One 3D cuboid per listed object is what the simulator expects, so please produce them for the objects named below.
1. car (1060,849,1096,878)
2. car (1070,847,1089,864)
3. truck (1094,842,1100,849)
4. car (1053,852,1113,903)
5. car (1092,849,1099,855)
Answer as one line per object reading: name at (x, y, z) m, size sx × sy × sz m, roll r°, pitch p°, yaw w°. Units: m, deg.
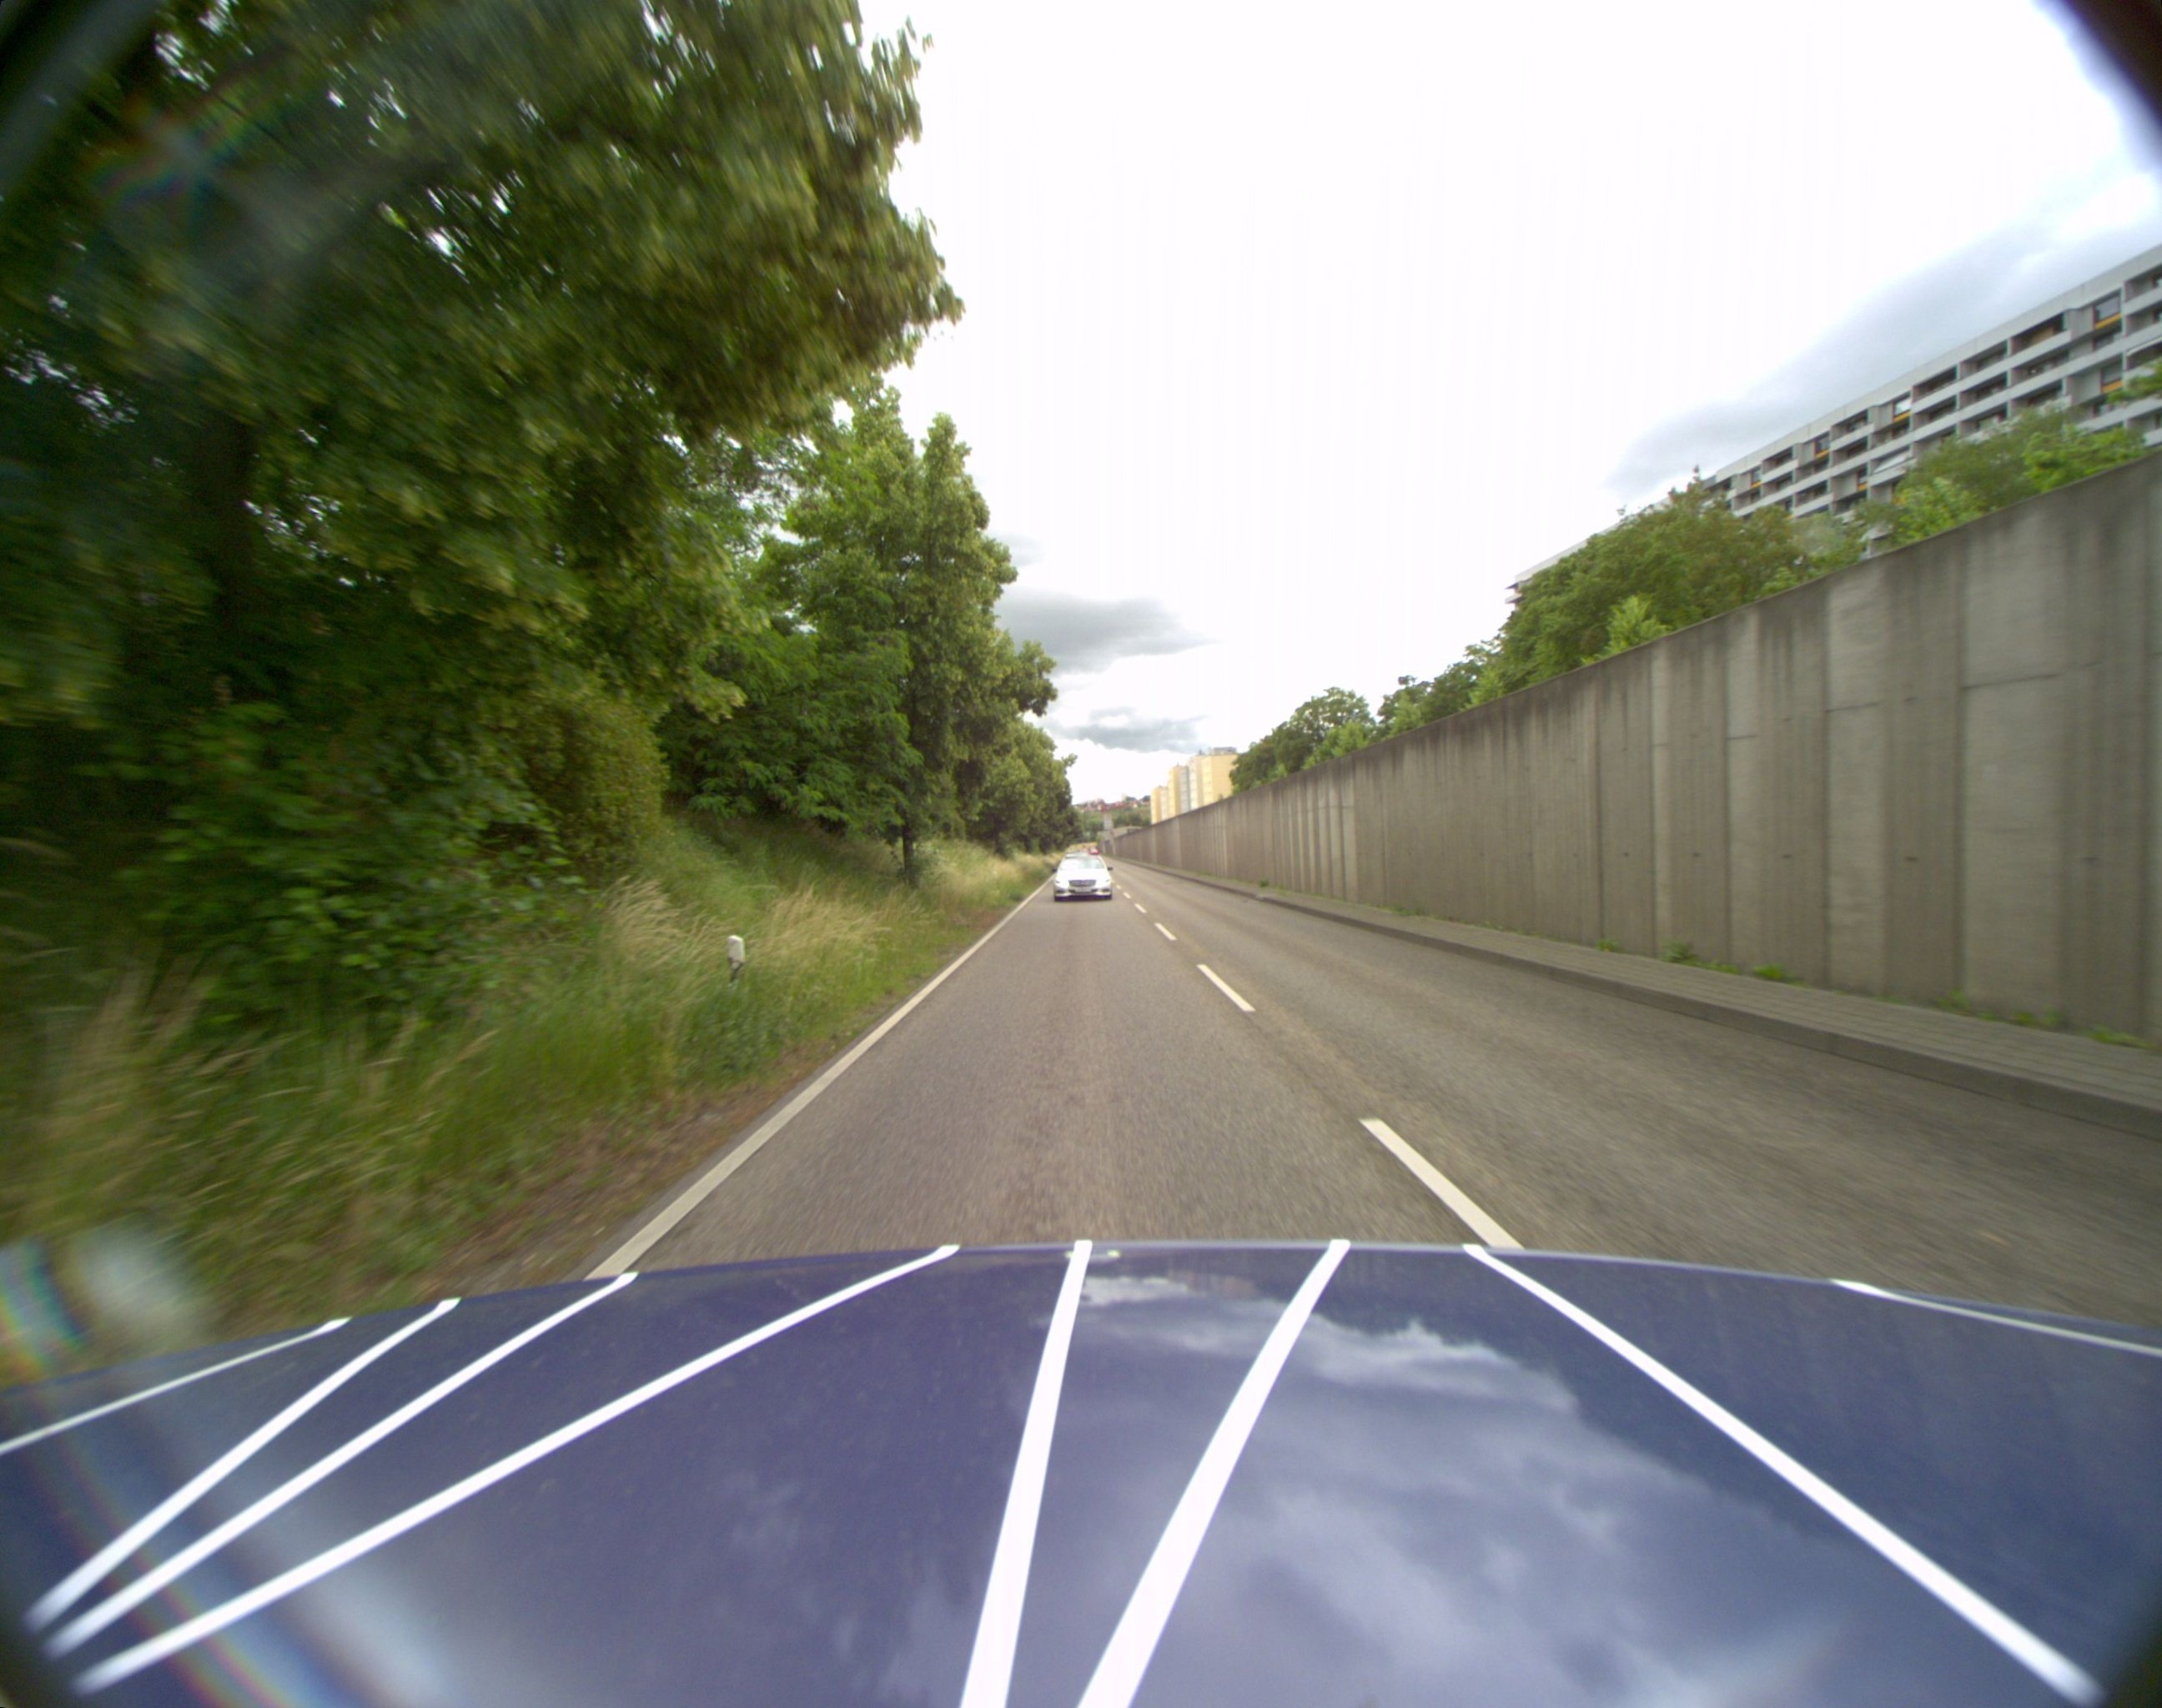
car at (-0.151, 0.509, 42.920) m, size 1.878 × 1.459 × 3.999 m, roll -2°, pitch 1°, yaw 0°
car at (-0.163, 0.140, 82.923) m, size 1.998 × 1.746 × 4.000 m, roll -2°, pitch 0°, yaw 1°
truck at (4.657, -2.505, 225.789) m, size 1.593 × 2.210 × 3.999 m, roll -2°, pitch 1°, yaw 0°
car at (0.089, 0.740, 25.934) m, size 1.842 × 1.499 × 4.160 m, roll -2°, pitch 1°, yaw 0°
car at (3.798, -0.549, 195.575) m, size 1.639 × 1.478 × 3.493 m, roll -3°, pitch 0°, yaw 0°
